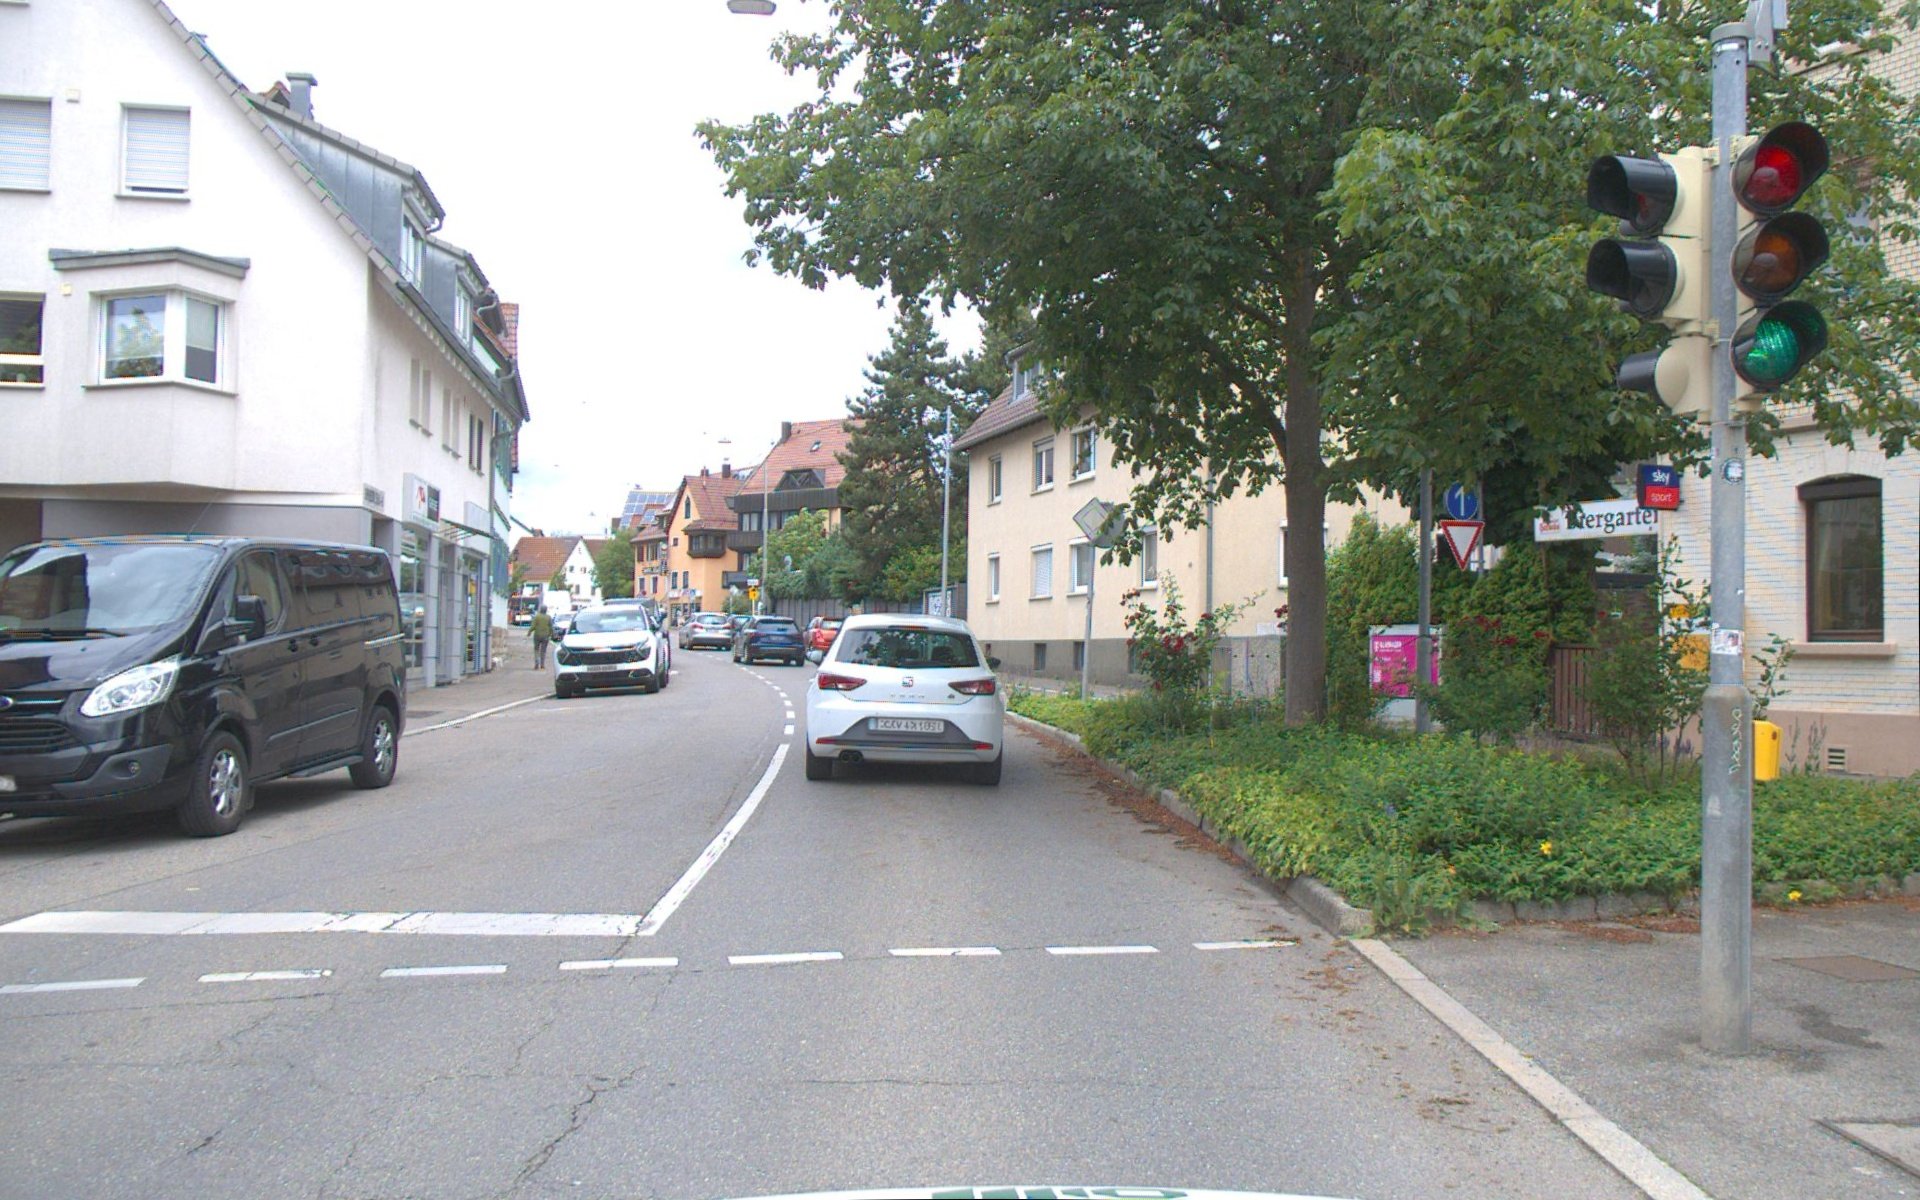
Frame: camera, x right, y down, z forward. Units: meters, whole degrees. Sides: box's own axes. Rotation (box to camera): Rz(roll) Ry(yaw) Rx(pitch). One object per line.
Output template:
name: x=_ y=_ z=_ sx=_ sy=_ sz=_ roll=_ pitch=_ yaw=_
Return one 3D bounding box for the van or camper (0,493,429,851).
van or camper: x=-5.638 y=0.493 z=11.967 sx=2.031 sy=2.041 sz=4.856 roll=-1 pitch=-2 yaw=0

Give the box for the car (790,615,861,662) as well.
car: x=-4.710 y=1.317 z=57.524 sx=1.729 sy=1.477 sz=3.984 roll=3 pitch=-1 yaw=-15

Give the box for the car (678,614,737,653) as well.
car: x=-10.019 y=1.313 z=65.433 sx=1.730 sy=1.477 sz=3.981 roll=1 pitch=-1 yaw=-17

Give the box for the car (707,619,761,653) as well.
car: x=-10.432 y=1.648 z=76.257 sx=1.731 sy=1.477 sz=3.978 roll=1 pitch=-1 yaw=-19

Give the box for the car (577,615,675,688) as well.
car: x=-7.320 y=1.100 z=36.603 sx=1.961 sy=1.461 sz=3.909 roll=2 pitch=-1 yaw=-10

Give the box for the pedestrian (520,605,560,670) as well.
pedestrian: x=-10.306 y=0.918 z=40.608 sx=0.791 sy=1.526 sz=0.973 roll=3 pitch=-2 yaw=-10

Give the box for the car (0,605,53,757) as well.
car: x=-10.835 y=0.777 z=16.316 sx=2.770 sy=1.500 sz=1.743 roll=1 pitch=-1 yaw=3

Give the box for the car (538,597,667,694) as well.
car: x=-6.711 y=0.824 z=31.512 sx=1.960 sy=1.662 sz=4.849 roll=2 pitch=-1 yaw=-8

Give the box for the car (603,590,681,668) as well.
car: x=-8.916 y=0.777 z=46.711 sx=1.957 sy=2.049 sz=4.660 roll=-1 pitch=0 yaw=-9

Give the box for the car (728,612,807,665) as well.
car: x=-5.701 y=1.109 z=48.666 sx=1.729 sy=1.477 sz=3.984 roll=1 pitch=-1 yaw=-15

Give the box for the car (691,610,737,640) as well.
car: x=-12.957 y=1.303 z=86.921 sx=1.731 sy=1.477 sz=3.978 roll=1 pitch=-1 yaw=-19

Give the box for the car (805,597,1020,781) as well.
car: x=-0.568 y=0.764 z=15.556 sx=1.724 sy=1.477 sz=3.995 roll=1 pitch=-1 yaw=-6

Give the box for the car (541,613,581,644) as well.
car: x=-20.513 y=1.464 z=84.947 sx=1.770 sy=1.505 sz=4.032 roll=-1 pitch=0 yaw=-16

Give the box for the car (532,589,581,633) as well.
car: x=-26.706 y=0.740 z=109.689 sx=2.109 sy=2.734 sz=5.540 roll=2 pitch=-1 yaw=-3

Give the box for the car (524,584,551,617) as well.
car: x=-36.992 y=0.057 z=144.668 sx=2.117 sy=2.734 sz=5.372 roll=3 pitch=-1 yaw=-15
